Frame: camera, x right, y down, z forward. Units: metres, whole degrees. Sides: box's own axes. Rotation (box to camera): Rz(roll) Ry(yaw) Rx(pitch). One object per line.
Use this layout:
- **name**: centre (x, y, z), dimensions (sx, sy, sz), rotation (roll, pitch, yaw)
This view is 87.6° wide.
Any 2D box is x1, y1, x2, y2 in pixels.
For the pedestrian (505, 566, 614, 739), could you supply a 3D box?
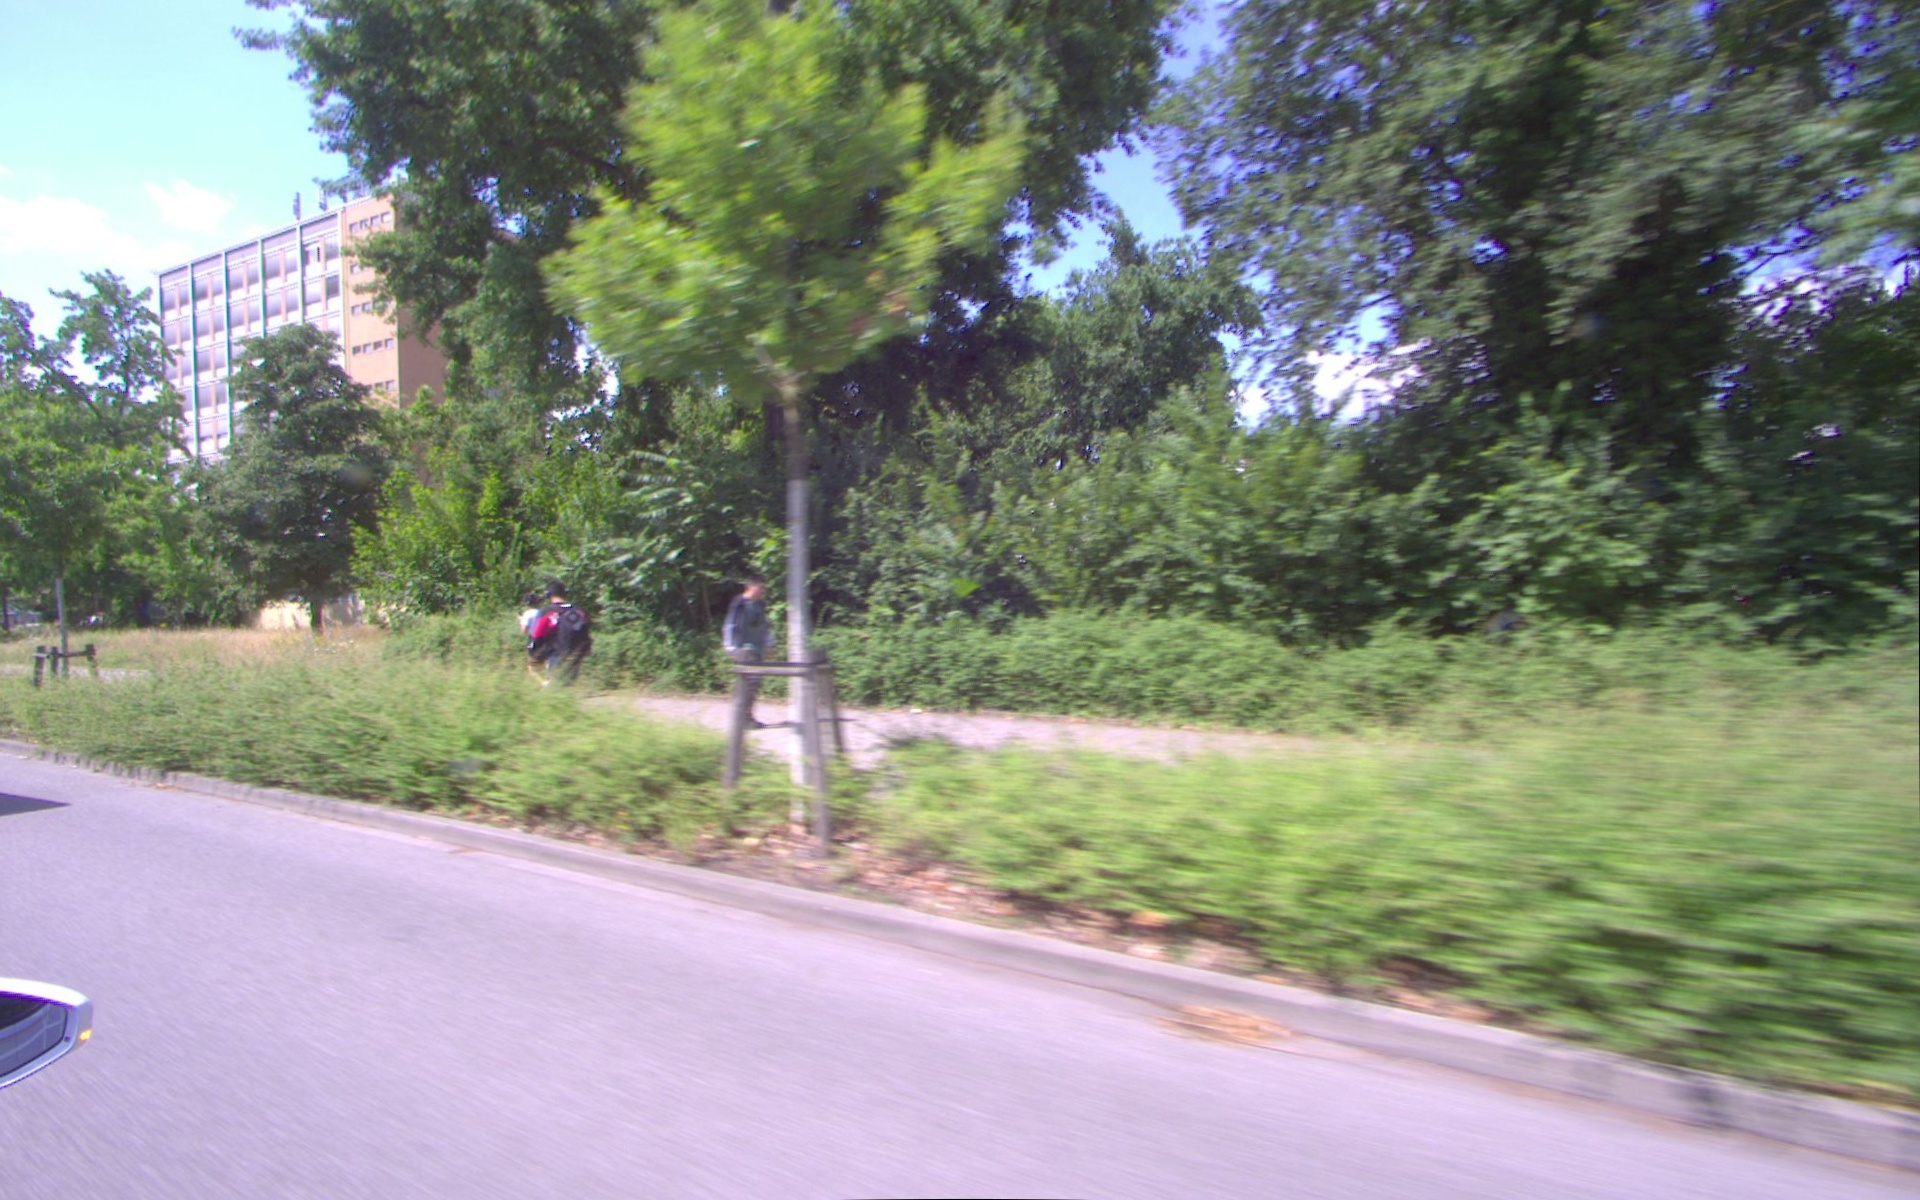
- **pedestrian**: centre (-4.240, 0.539, 10.610), dimensions (0.825, 1.744, 0.714), rotation (-1, 0, 34)

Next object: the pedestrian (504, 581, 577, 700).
- **pedestrian**: centre (-6.367, 0.609, 15.208), dimensions (0.737, 1.744, 0.721), rotation (-1, 0, 34)

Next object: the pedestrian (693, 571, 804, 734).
- **pedestrian**: centre (-2.390, 0.575, 11.311), dimensions (0.917, 1.744, 0.811), rotation (-1, 0, 34)

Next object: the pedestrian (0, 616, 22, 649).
- **pedestrian**: centre (-60.427, 2.036, 63.746), dimensions (0.835, 2.085, 0.737), rotation (0, 0, -29)
